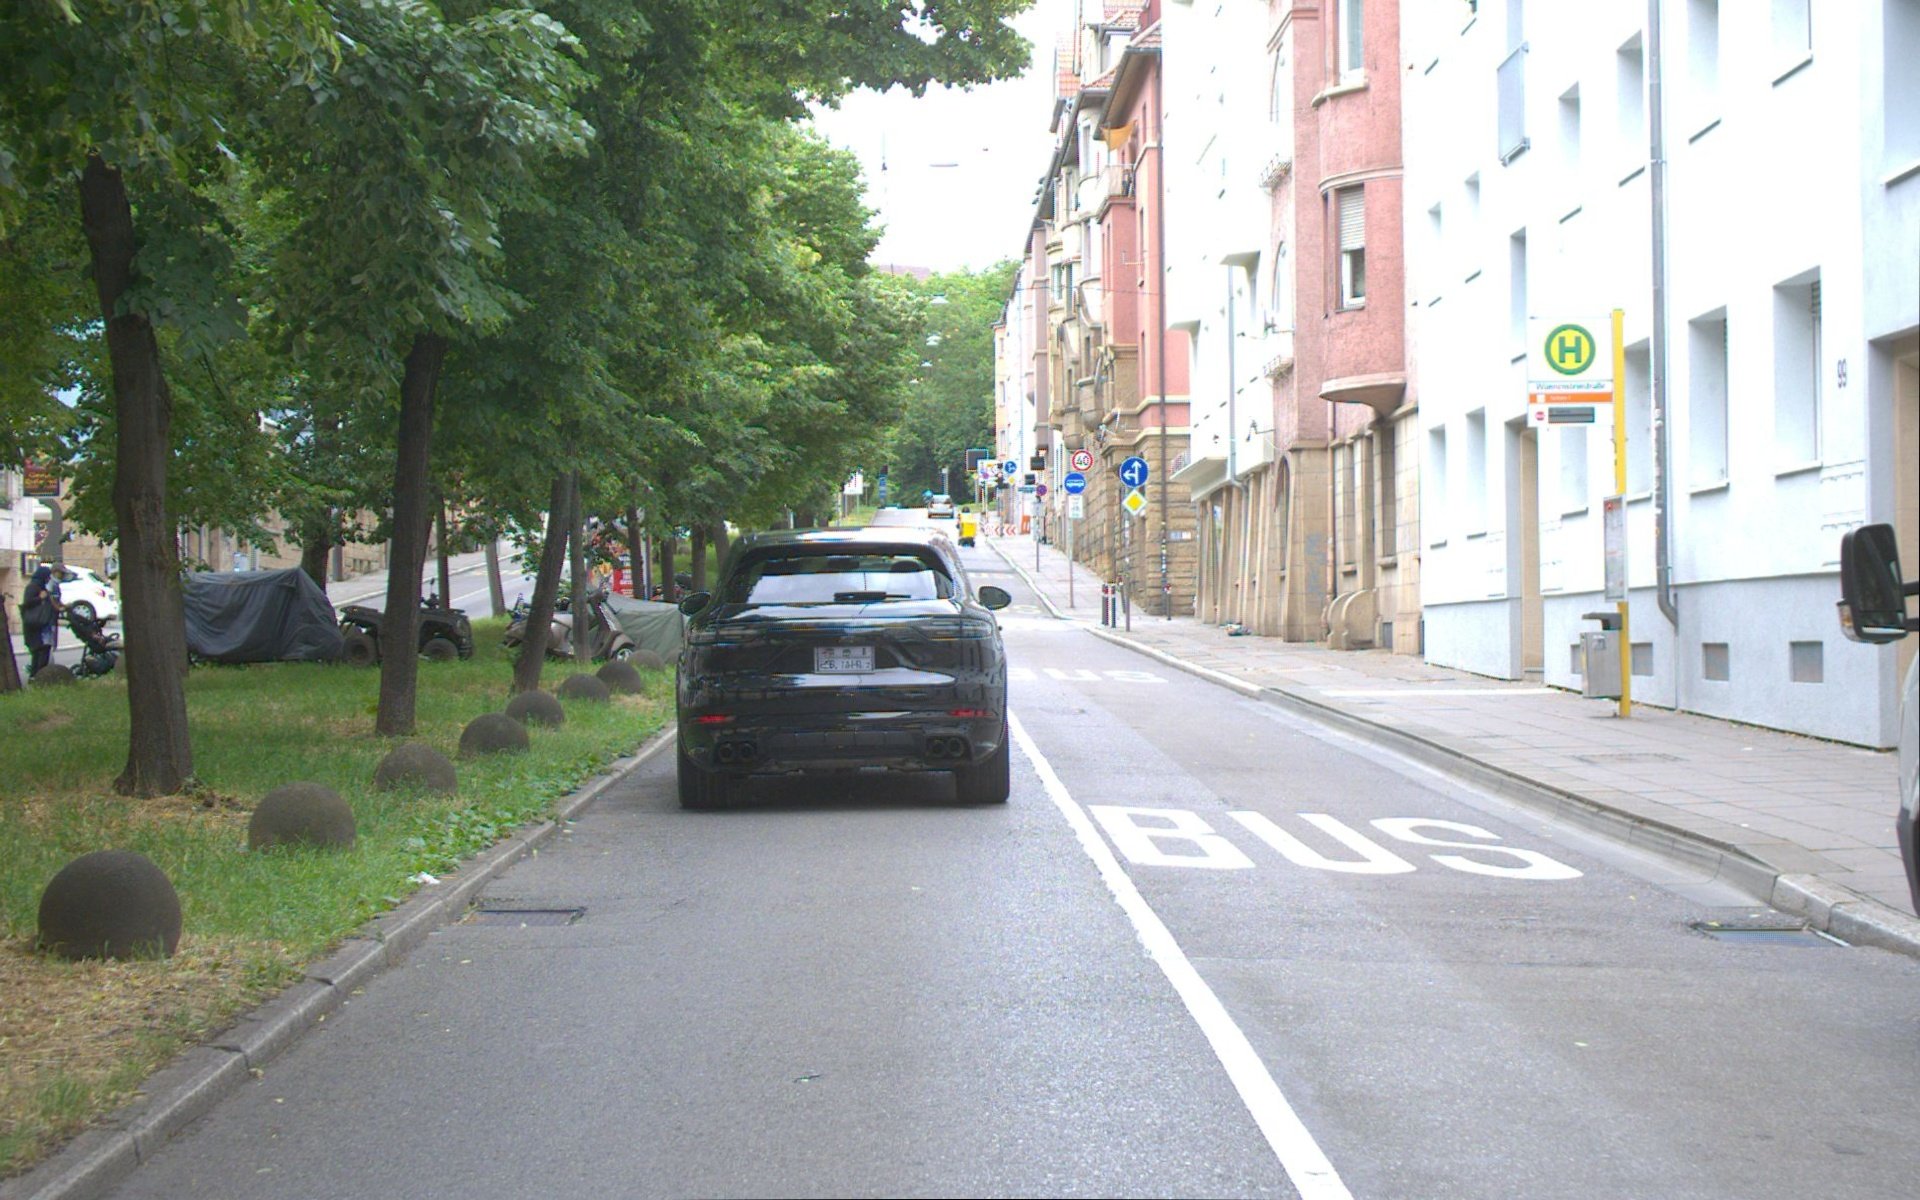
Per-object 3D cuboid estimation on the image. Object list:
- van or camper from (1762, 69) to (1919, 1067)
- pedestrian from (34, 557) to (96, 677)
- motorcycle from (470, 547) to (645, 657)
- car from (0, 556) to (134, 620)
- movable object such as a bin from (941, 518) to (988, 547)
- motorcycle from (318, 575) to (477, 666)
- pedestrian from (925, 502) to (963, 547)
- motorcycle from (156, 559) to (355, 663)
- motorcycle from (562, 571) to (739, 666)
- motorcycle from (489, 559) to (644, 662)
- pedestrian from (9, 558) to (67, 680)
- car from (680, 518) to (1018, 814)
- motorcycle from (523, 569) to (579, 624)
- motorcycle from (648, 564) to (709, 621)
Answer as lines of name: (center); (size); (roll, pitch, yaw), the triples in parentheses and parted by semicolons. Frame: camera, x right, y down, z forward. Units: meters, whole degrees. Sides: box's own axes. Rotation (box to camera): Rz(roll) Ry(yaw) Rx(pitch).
van or camper: (3.931, -0.077, 7.742); (2.480, 2.793, 7.238); (-1, 1, 0)
pedestrian: (-12.114, 0.229, 46.554); (0.662, 1.610, 0.579); (0, 1, 1)
motorcycle: (-5.338, 0.018, 45.659); (2.194, 1.433, 0.874); (0, 1, 2)
car: (-22.105, -0.290, 82.683); (3.987, 1.492, 2.000); (-1, 1, -1)
movable object such as a bin: (0.181, -2.994, 153.148); (1.237, 1.270, 1.846); (-1, 1, -36)
motorcycle: (-7.854, 0.280, 48.049); (2.029, 1.231, 0.896); (-1, 1, 5)
pedestrian: (-0.714, -3.373, 154.381); (1.301, 2.007, 1.019); (-1, 1, -37)
motorcycle: (-9.169, 0.133, 44.819); (2.382, 1.312, 1.046); (-1, 1, -2)
motorcycle: (-4.257, 0.246, 47.454); (2.355, 1.231, 1.034); (-1, 2, -2)
motorcycle: (-5.132, 0.139, 44.899); (1.924, 1.292, 0.893); (-1, -1, -2)
pedestrian: (-12.234, 0.245, 45.639); (0.634, 1.607, 0.764); (0, 1, -6)
car: (-0.714, 0.349, 21.608); (1.903, 1.660, 4.136); (-1, 1, -2)
motorcycle: (-8.556, -0.065, 71.979); (0.900, 1.103, 2.251); (-1, -1, 0)
motorcycle: (-5.889, -0.173, 72.121); (1.062, 1.144, 2.448); (-1, 1, 0)
